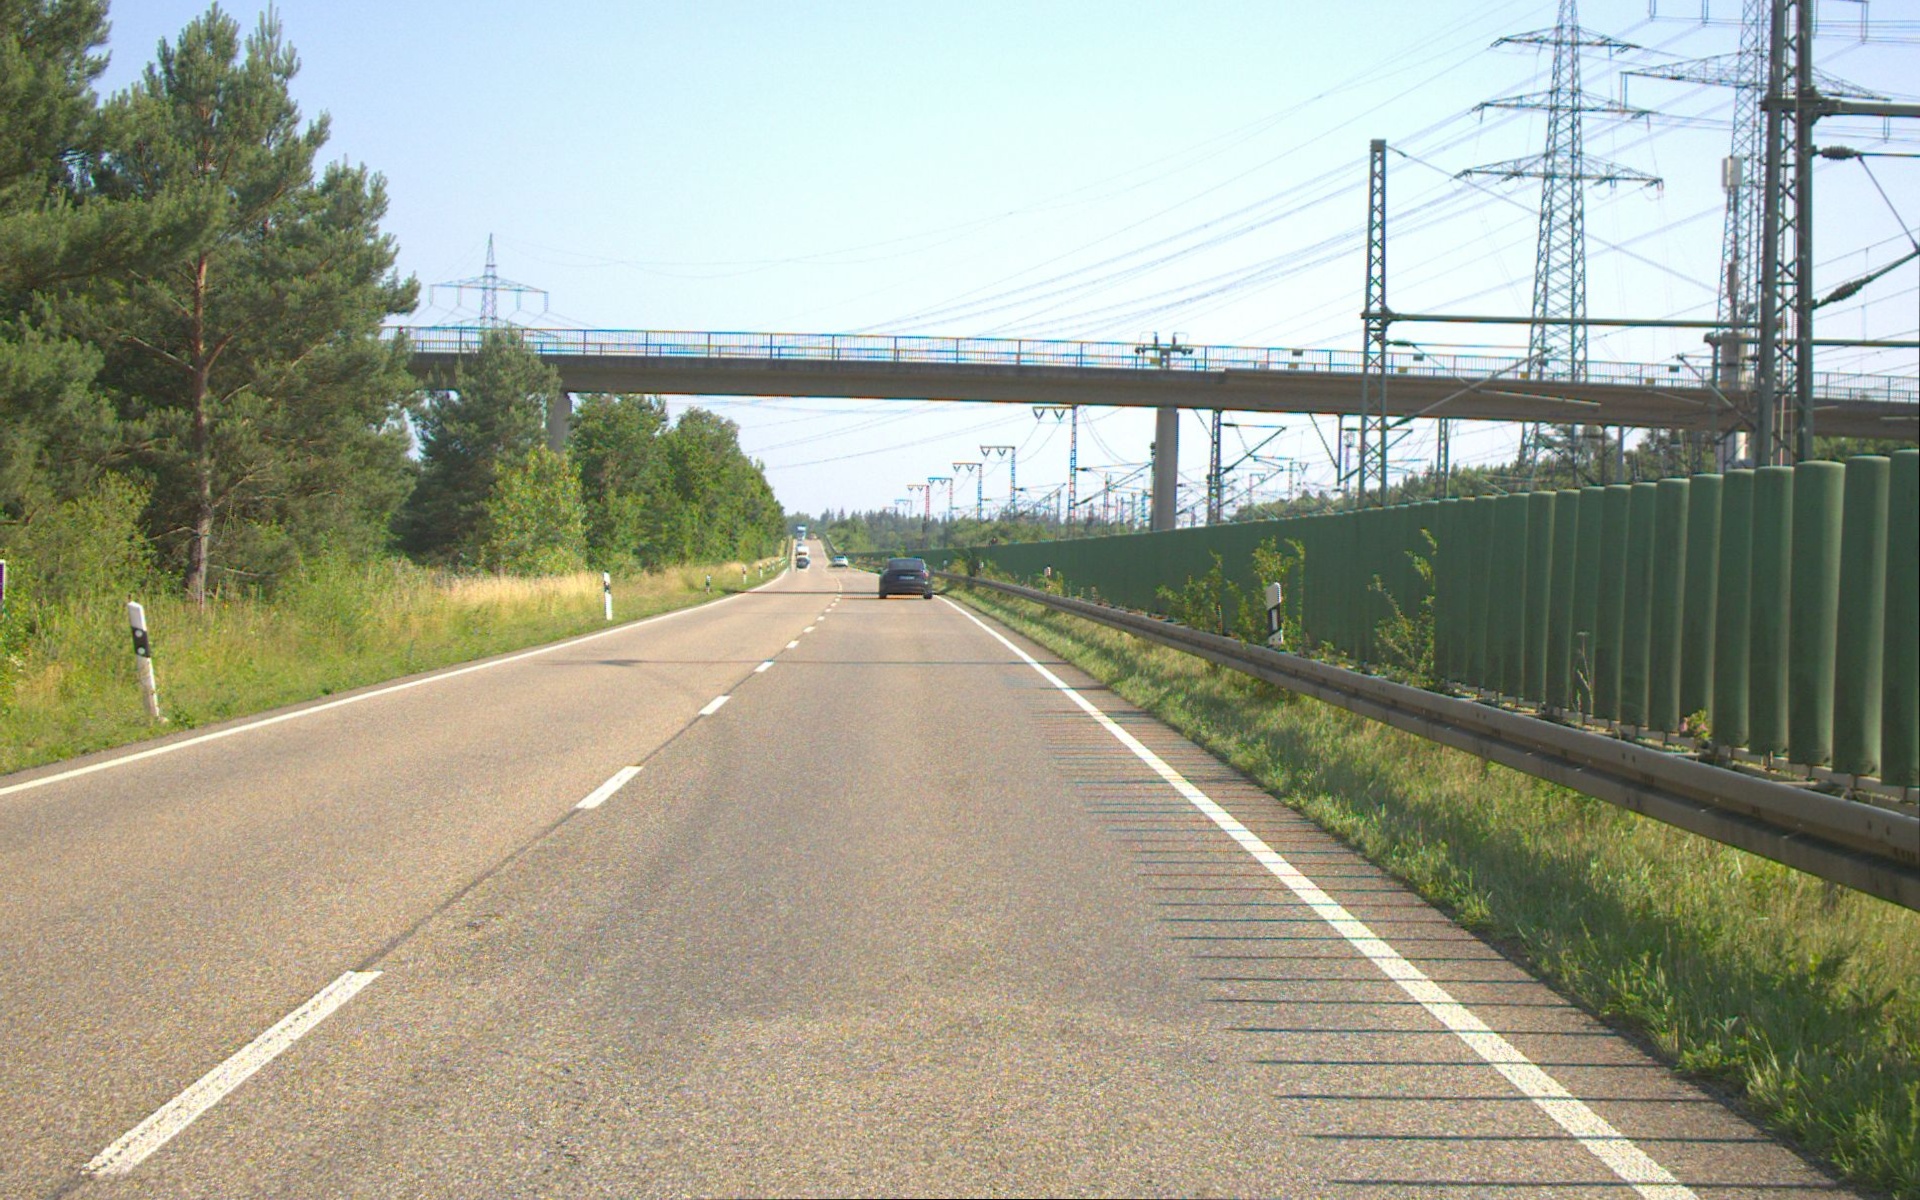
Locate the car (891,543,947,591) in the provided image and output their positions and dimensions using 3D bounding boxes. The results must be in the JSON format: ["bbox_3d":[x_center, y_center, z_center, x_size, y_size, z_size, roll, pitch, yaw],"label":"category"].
[{"bbox_3d":[-1.475,-1.178,121.059,1.858,1.636,4.001,-1,1,-2],"label":"car"}]
